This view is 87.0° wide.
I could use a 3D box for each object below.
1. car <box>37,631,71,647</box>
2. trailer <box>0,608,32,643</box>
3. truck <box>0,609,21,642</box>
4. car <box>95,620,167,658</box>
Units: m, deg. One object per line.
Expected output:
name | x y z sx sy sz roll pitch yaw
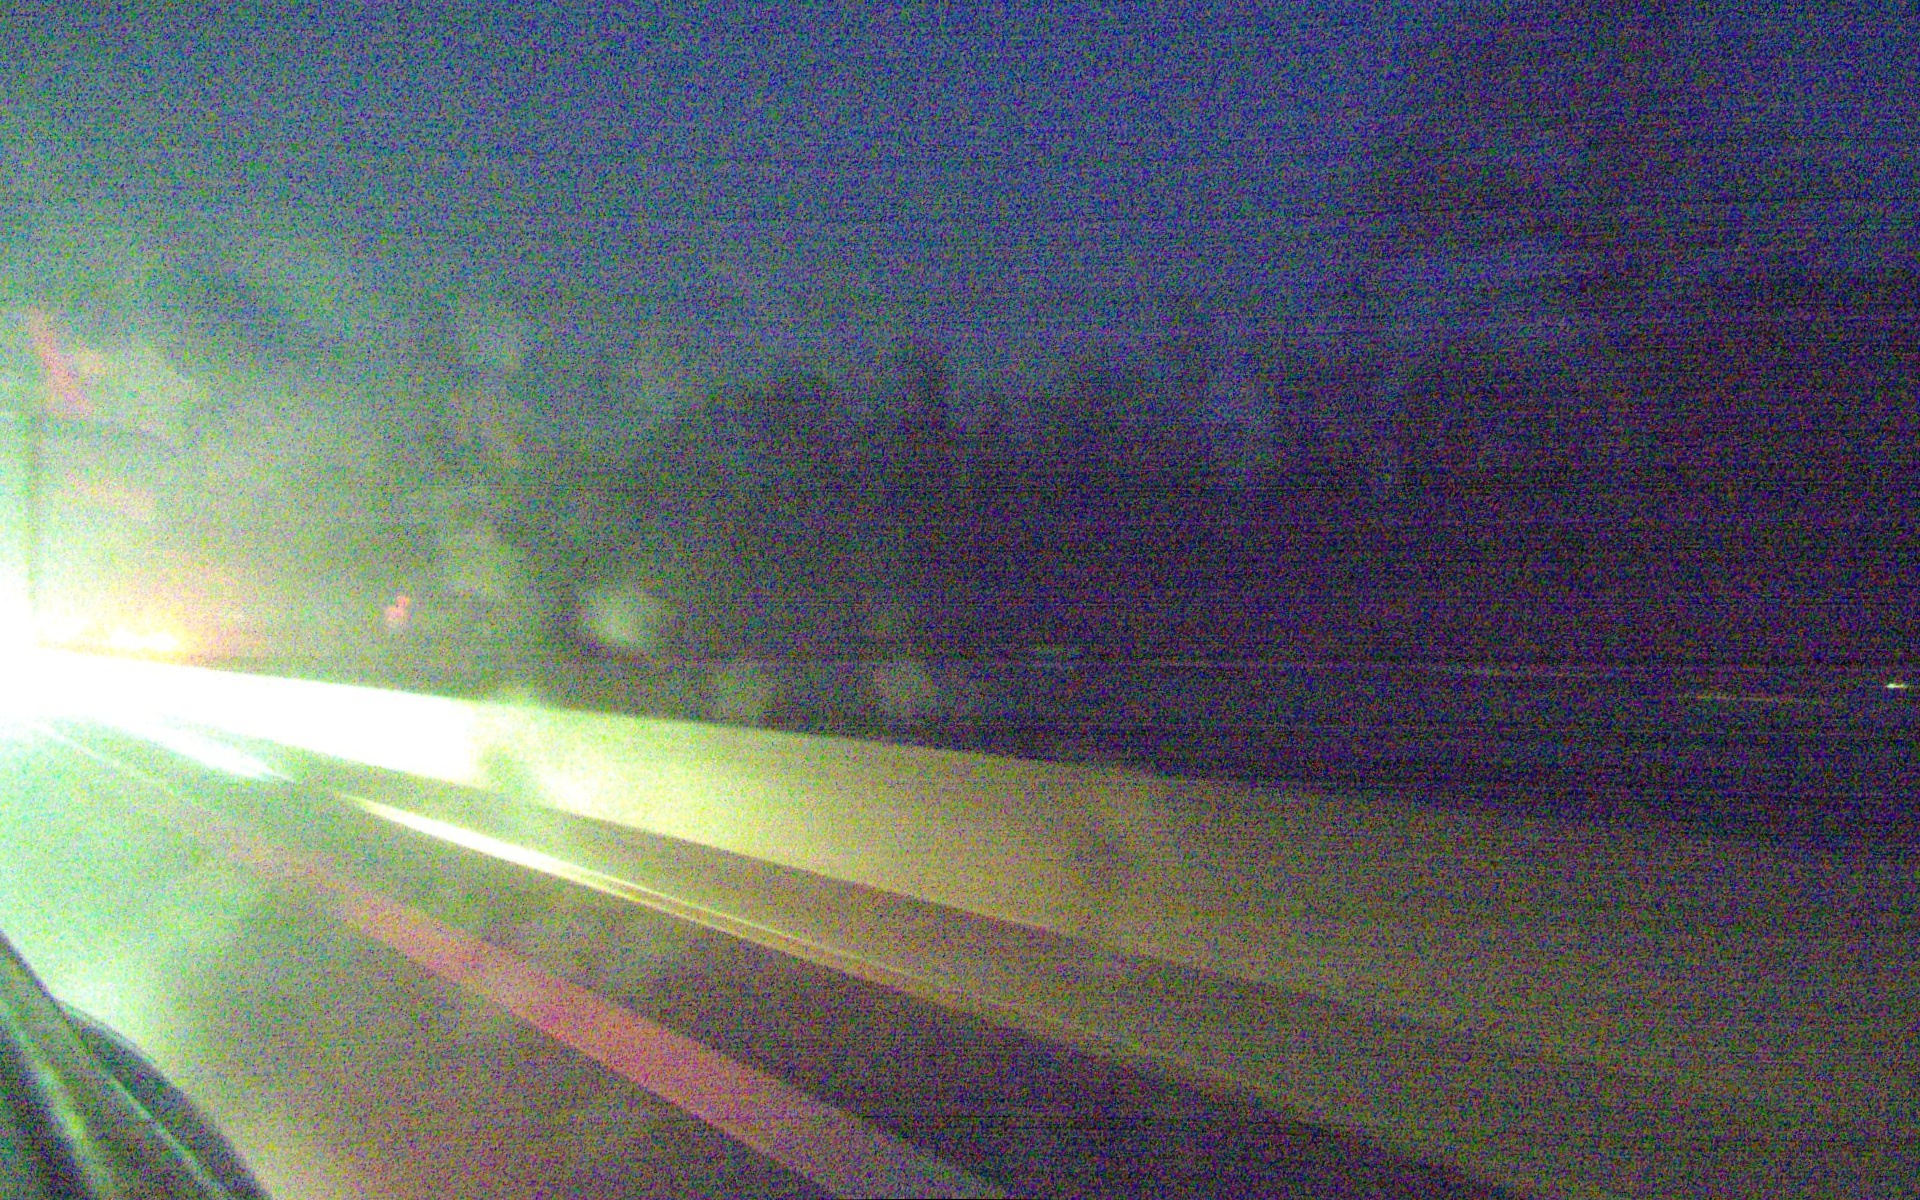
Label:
car | -89.838 3.843 100.338 4.963 1.512 1.973 -1 0 42
trailer | -122.141 3.317 130.188 8.933 4.309 2.909 -1 -3 41
truck | -129.814 3.419 136.935 11.431 4.360 2.899 -1 -3 42
car | -35.966 1.646 43.866 4.293 1.575 1.692 -1 -2 41
